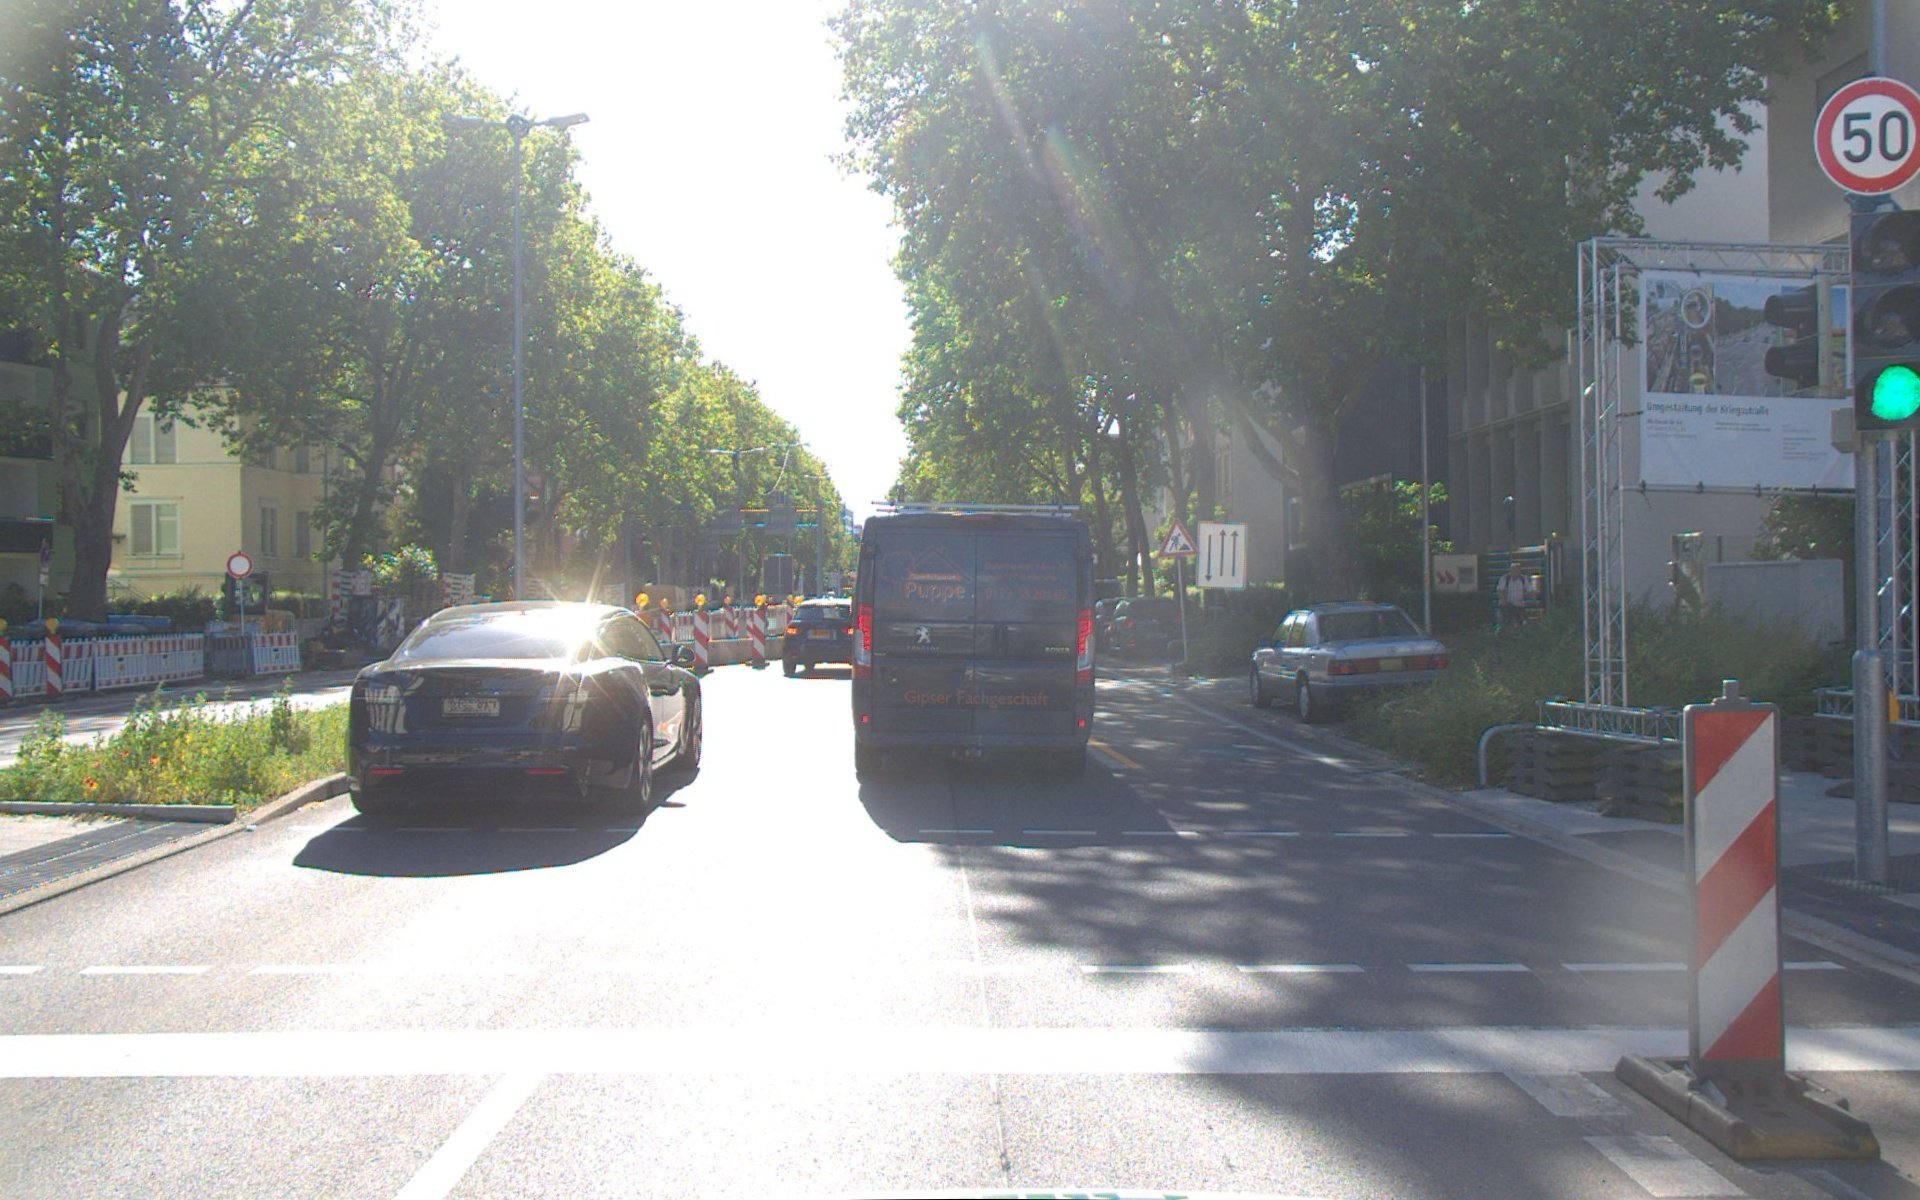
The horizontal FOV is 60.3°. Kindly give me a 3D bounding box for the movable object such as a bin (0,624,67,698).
[{"bbox_3d":[-17.875,1.144,31.241,1.381,1.361,1.157,-1,0,0],"label":"movable object such as a bin"}]

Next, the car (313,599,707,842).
[{"bbox_3d":[-3.154,0.748,12.631,1.886,1.436,4.624,-1,0,-2],"label":"car"}]

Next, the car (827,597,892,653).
[{"bbox_3d":[-2.716,0.669,45.316,1.516,1.450,3.555,-1,0,1],"label":"car"}]

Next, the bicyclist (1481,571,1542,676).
[{"bbox_3d":[9.911,0.418,29.750,0.709,1.852,1.070,0,0,-1],"label":"bicyclist"}]

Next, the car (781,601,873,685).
[{"bbox_3d":[-2.624,0.816,33.176,1.711,1.431,3.998,1,2,-3],"label":"car"}]

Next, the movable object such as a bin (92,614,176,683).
[{"bbox_3d":[-18.211,1.054,36.475,1.611,1.447,1.252,-1,0,-28],"label":"movable object such as a bin"}]

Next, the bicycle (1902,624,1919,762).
[{"bbox_3d":[8.090,0.724,13.512,0.577,1.022,2.126,0,0,32],"label":"bicycle"}]

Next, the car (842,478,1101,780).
[{"bbox_3d":[0.080,0.207,15.102,2.052,2.396,3.933,0,1,0],"label":"car"}]

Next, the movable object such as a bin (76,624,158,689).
[{"bbox_3d":[-17.650,1.168,34.672,0.960,1.293,1.540,0,0,-2],"label":"movable object such as a bin"}]

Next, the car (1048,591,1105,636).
[{"bbox_3d":[4.105,0.472,58.757,1.712,1.503,4.101,-1,0,0],"label":"car"}]

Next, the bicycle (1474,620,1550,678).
[{"bbox_3d":[9.949,0.871,29.857,0.766,0.983,1.823,-1,0,0],"label":"bicycle"}]

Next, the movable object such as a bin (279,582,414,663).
[{"bbox_3d":[-18.776,0.655,50.936,1.952,2.318,5.599,-2,0,1],"label":"movable object such as a bin"}]

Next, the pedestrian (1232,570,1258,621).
[{"bbox_3d":[9.707,-0.168,56.347,0.692,1.677,0.674,2,2,-5],"label":"pedestrian"}]

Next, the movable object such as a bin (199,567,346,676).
[{"bbox_3d":[-18.487,0.552,44.763,2.104,2.753,5.349,0,0,-5],"label":"movable object such as a bin"}]

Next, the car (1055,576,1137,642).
[{"bbox_3d":[4.306,0.261,53.015,1.985,1.980,5.271,-1,0,-2],"label":"car"}]

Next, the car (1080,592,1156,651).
[{"bbox_3d":[4.387,0.570,46.326,1.624,1.567,4.127,0,0,-2],"label":"car"}]

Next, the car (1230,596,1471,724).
[{"bbox_3d":[5.048,0.703,22.124,1.815,1.505,4.939,0,0,-3],"label":"car"}]

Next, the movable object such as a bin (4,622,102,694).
[{"bbox_3d":[-17.720,1.128,32.333,1.381,1.361,0.936,-1,0,0],"label":"movable object such as a bin"}]

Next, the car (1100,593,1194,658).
[{"bbox_3d":[4.622,0.594,41.342,1.728,1.534,4.249,0,0,-2],"label":"car"}]
